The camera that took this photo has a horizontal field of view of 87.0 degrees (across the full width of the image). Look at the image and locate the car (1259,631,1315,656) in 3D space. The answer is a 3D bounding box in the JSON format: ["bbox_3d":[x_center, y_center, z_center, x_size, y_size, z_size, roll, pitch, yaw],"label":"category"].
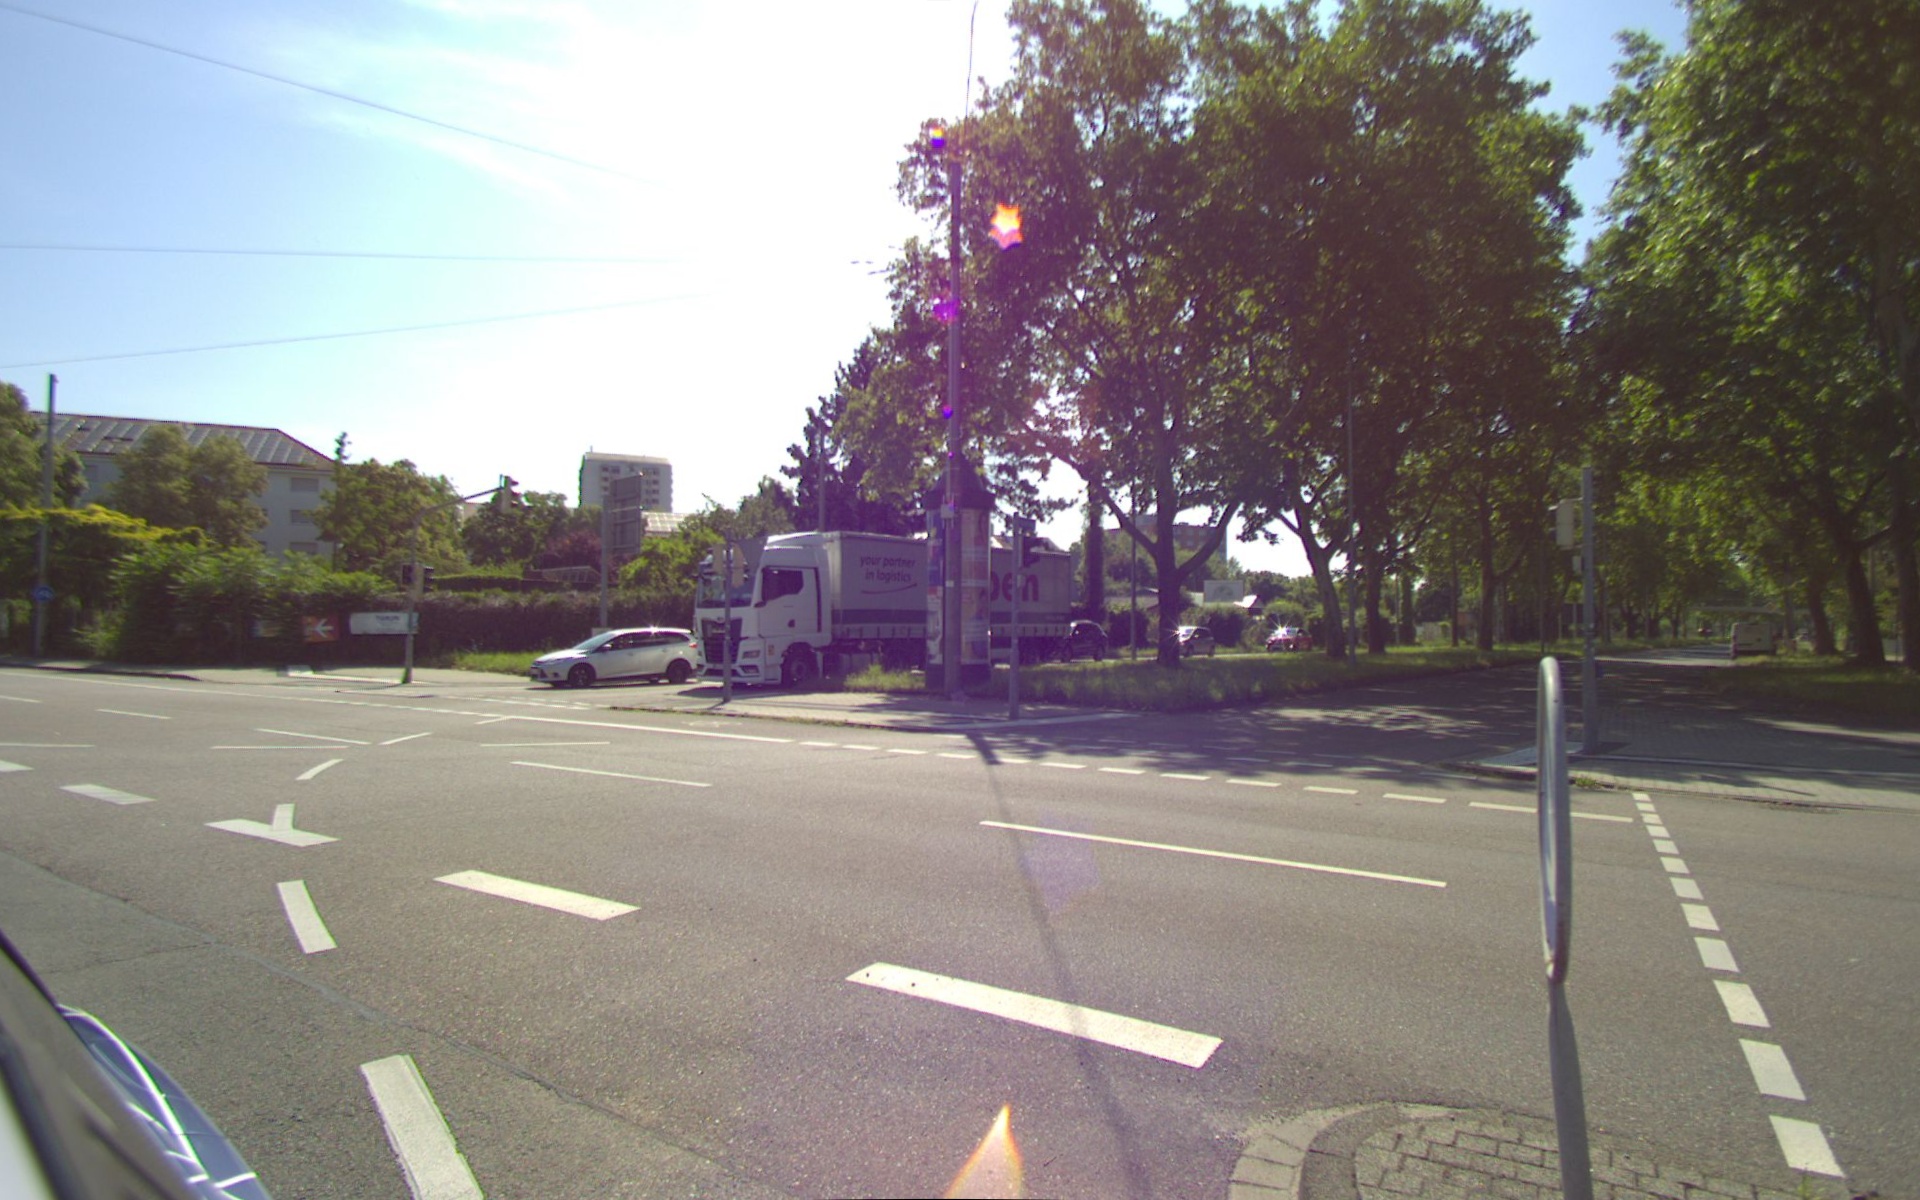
[{"bbox_3d":[20.168,2.669,62.381,1.755,1.379,4.312,-3,-3,40],"label":"car"}]

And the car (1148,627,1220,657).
[{"bbox_3d":[11.350,2.097,51.122,1.755,1.379,4.312,-3,-3,40],"label":"car"}]

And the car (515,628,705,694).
[{"bbox_3d":[-9.028,1.529,26.323,4.330,1.522,1.758,1,-3,-43],"label":"car"}]

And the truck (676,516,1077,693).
[{"bbox_3d":[-1.501,0.332,29.548,2.851,4.038,14.119,-1,-3,38],"label":"truck"}]

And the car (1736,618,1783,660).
[{"bbox_3d":[46.277,2.240,58.654,1.997,2.334,4.600,-1,-2,37],"label":"car"}]

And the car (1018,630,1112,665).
[{"bbox_3d":[4.443,1.971,42.423,1.755,1.379,4.312,-3,-3,40],"label":"car"}]
